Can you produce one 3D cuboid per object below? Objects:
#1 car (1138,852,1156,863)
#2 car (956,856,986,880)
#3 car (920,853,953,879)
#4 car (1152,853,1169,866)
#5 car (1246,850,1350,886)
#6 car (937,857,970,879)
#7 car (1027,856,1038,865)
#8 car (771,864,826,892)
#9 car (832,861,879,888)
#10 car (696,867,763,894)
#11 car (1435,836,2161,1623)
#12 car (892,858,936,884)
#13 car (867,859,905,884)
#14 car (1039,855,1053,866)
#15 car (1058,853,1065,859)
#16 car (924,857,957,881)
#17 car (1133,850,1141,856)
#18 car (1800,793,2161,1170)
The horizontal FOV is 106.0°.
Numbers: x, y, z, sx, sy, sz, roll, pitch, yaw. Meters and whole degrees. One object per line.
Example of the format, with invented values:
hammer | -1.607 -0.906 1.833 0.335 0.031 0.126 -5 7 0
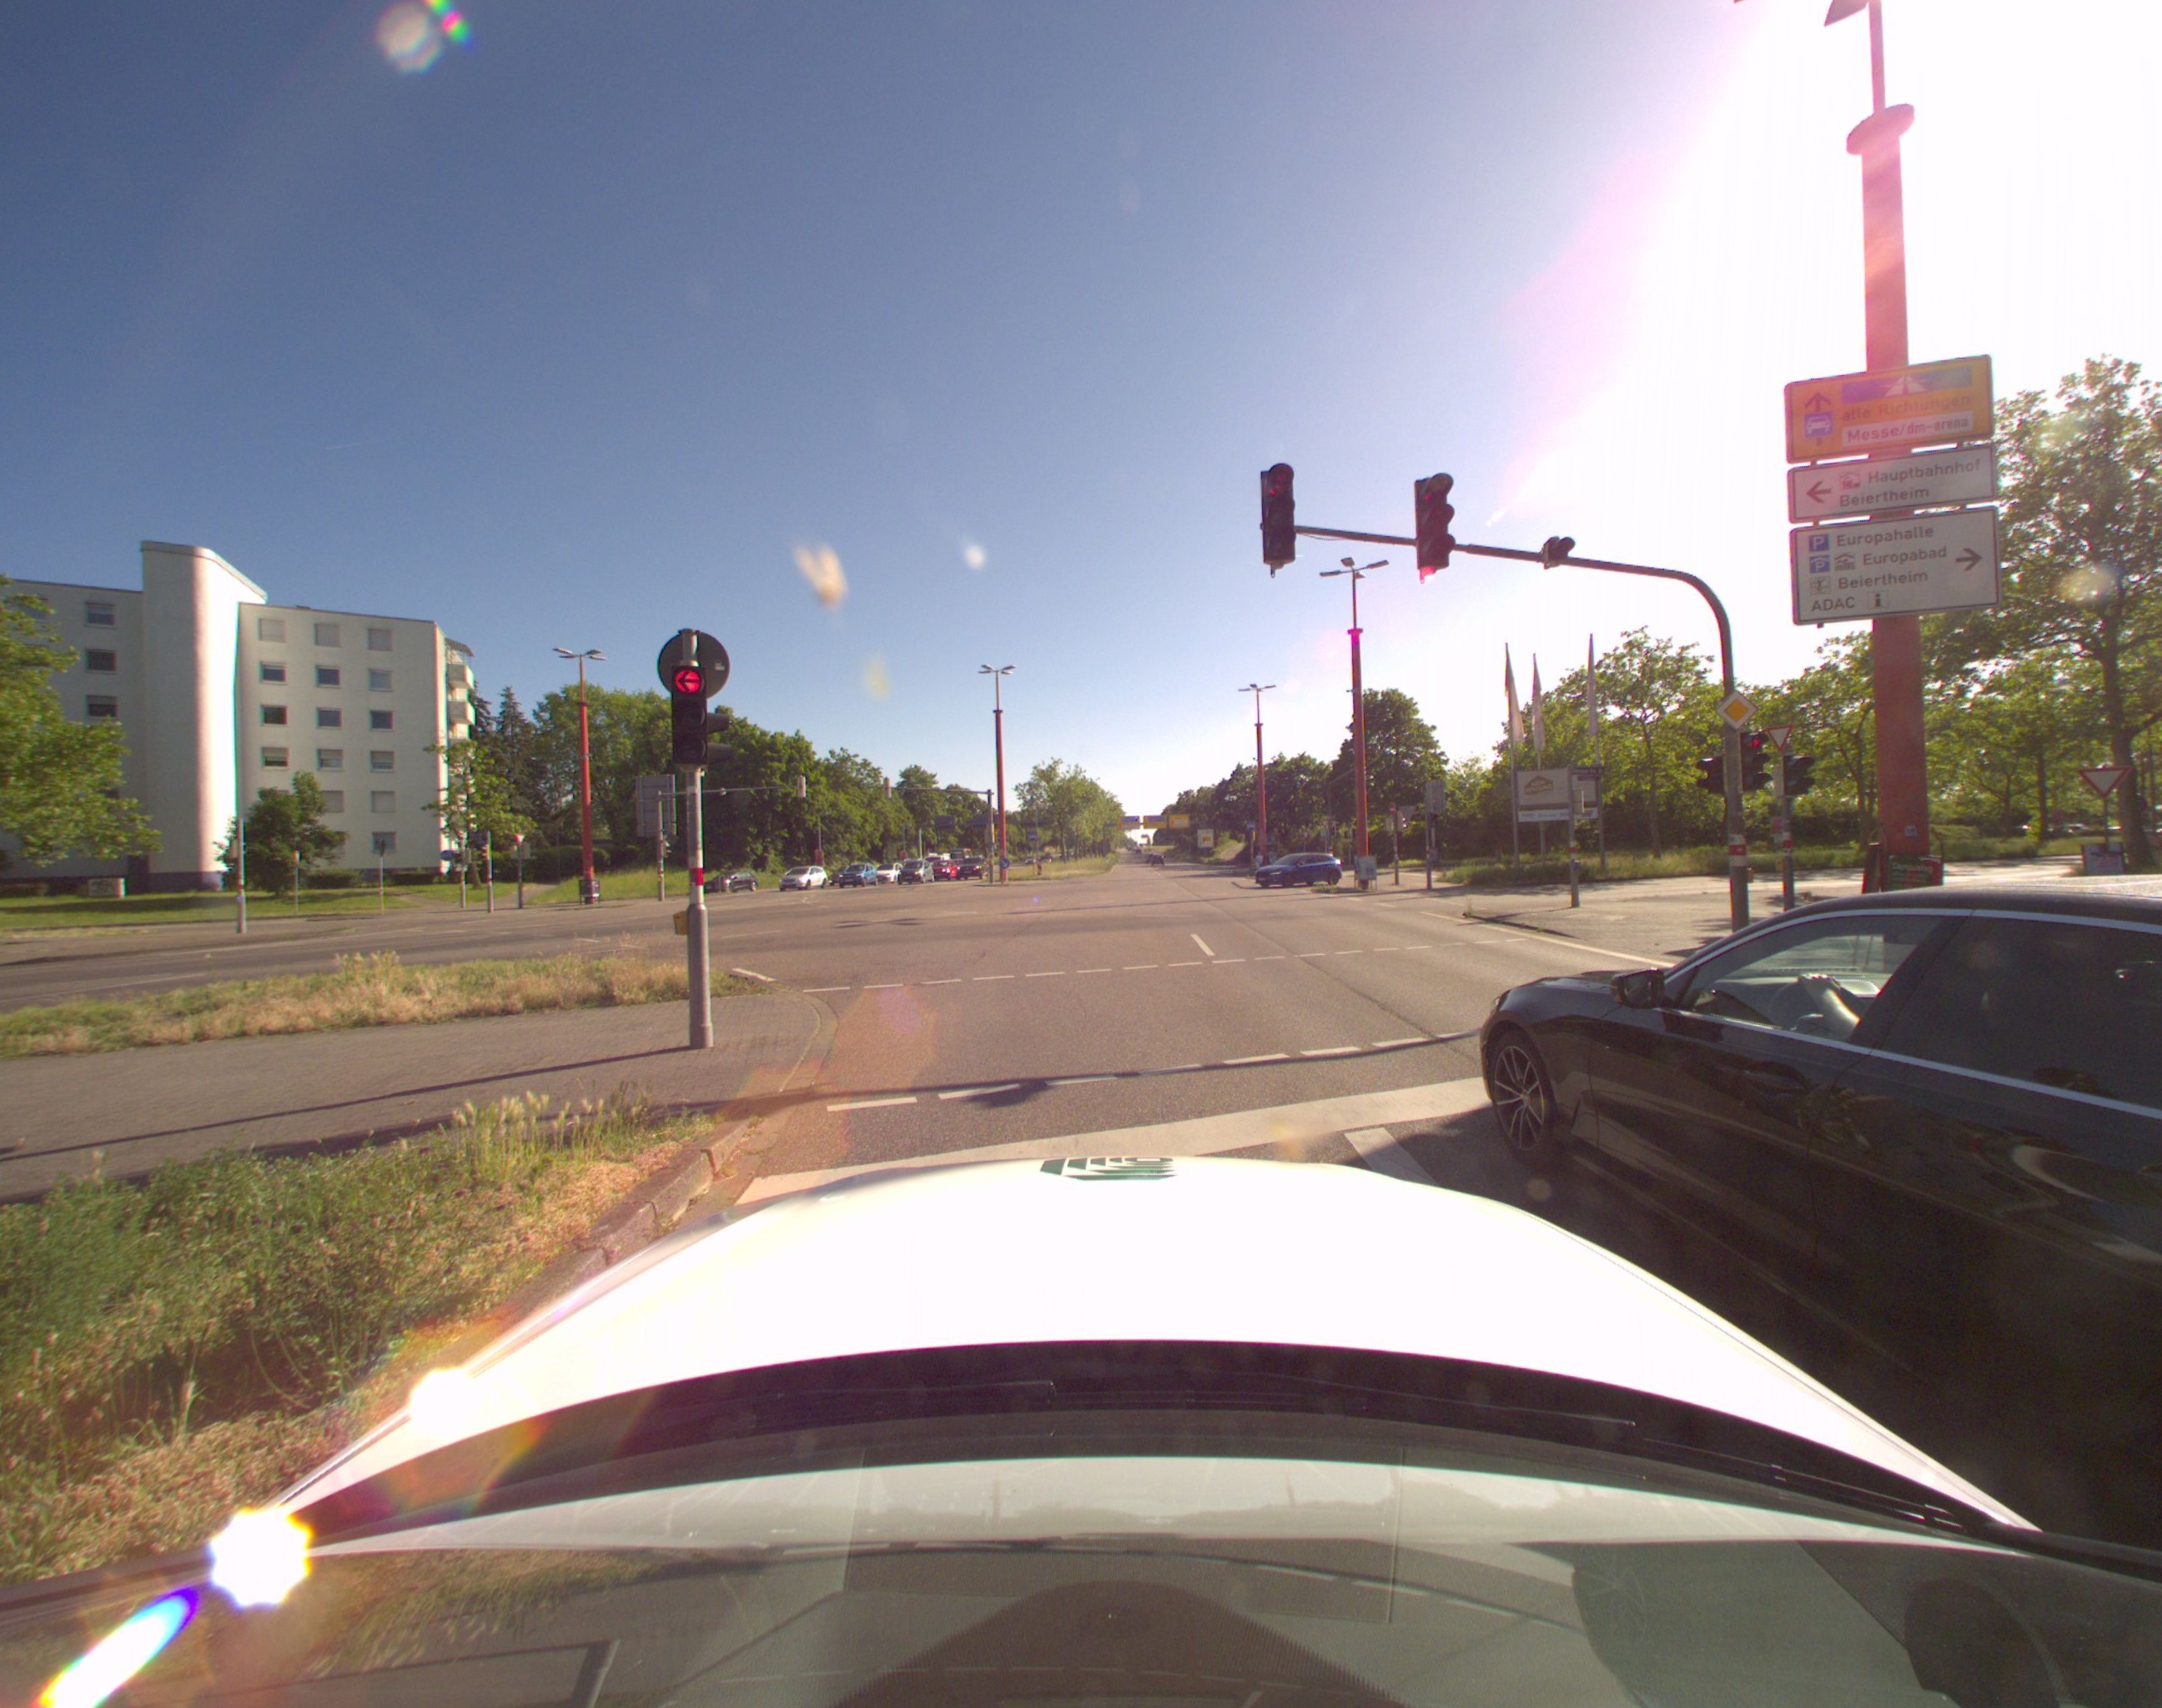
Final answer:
car | 10.074 0.564 124.667 2.153 1.573 4.580 -2 0 -1
car | -7.562 0.939 56.496 1.874 1.573 4.112 -2 0 -6
car | -12.730 1.055 71.993 2.055 2.193 4.377 -2 0 0
car | 10.163 0.710 104.579 2.149 1.573 4.286 -2 0 5
car | 9.611 0.597 36.013 4.290 1.428 1.867 -2 0 -27
car | -10.062 1.094 64.660 1.988 1.573 4.118 -2 0 -1
car | -8.519 1.125 143.103 1.872 1.573 4.117 -2 0 -2
car | -17.690 1.467 51.188 1.987 1.573 4.120 -2 0 0
car | -14.233 1.284 51.648 1.989 1.573 4.116 -2 0 -3
car | -23.109 1.717 53.710 1.982 1.598 4.232 -2 0 9
car | 2.954 0.664 2.379 1.986 1.394 4.479 -2 0 2
car | -10.729 1.046 52.587 1.988 1.573 4.119 -2 0 -1
car | -13.735 1.217 57.530 1.991 1.573 4.112 -3 0 -6
car | -5.033 0.966 117.664 1.872 1.573 4.117 -2 0 -2
car | -4.995 0.559 209.384 1.872 1.573 4.117 -2 0 -2
car | -10.099 1.047 58.878 1.991 1.573 4.112 -2 0 -6
car | 16.538 -0.312 240.051 2.149 1.573 4.285 -2 0 4
car | 5.801 0.558 3.267 1.959 1.686 4.479 -1 0 2
